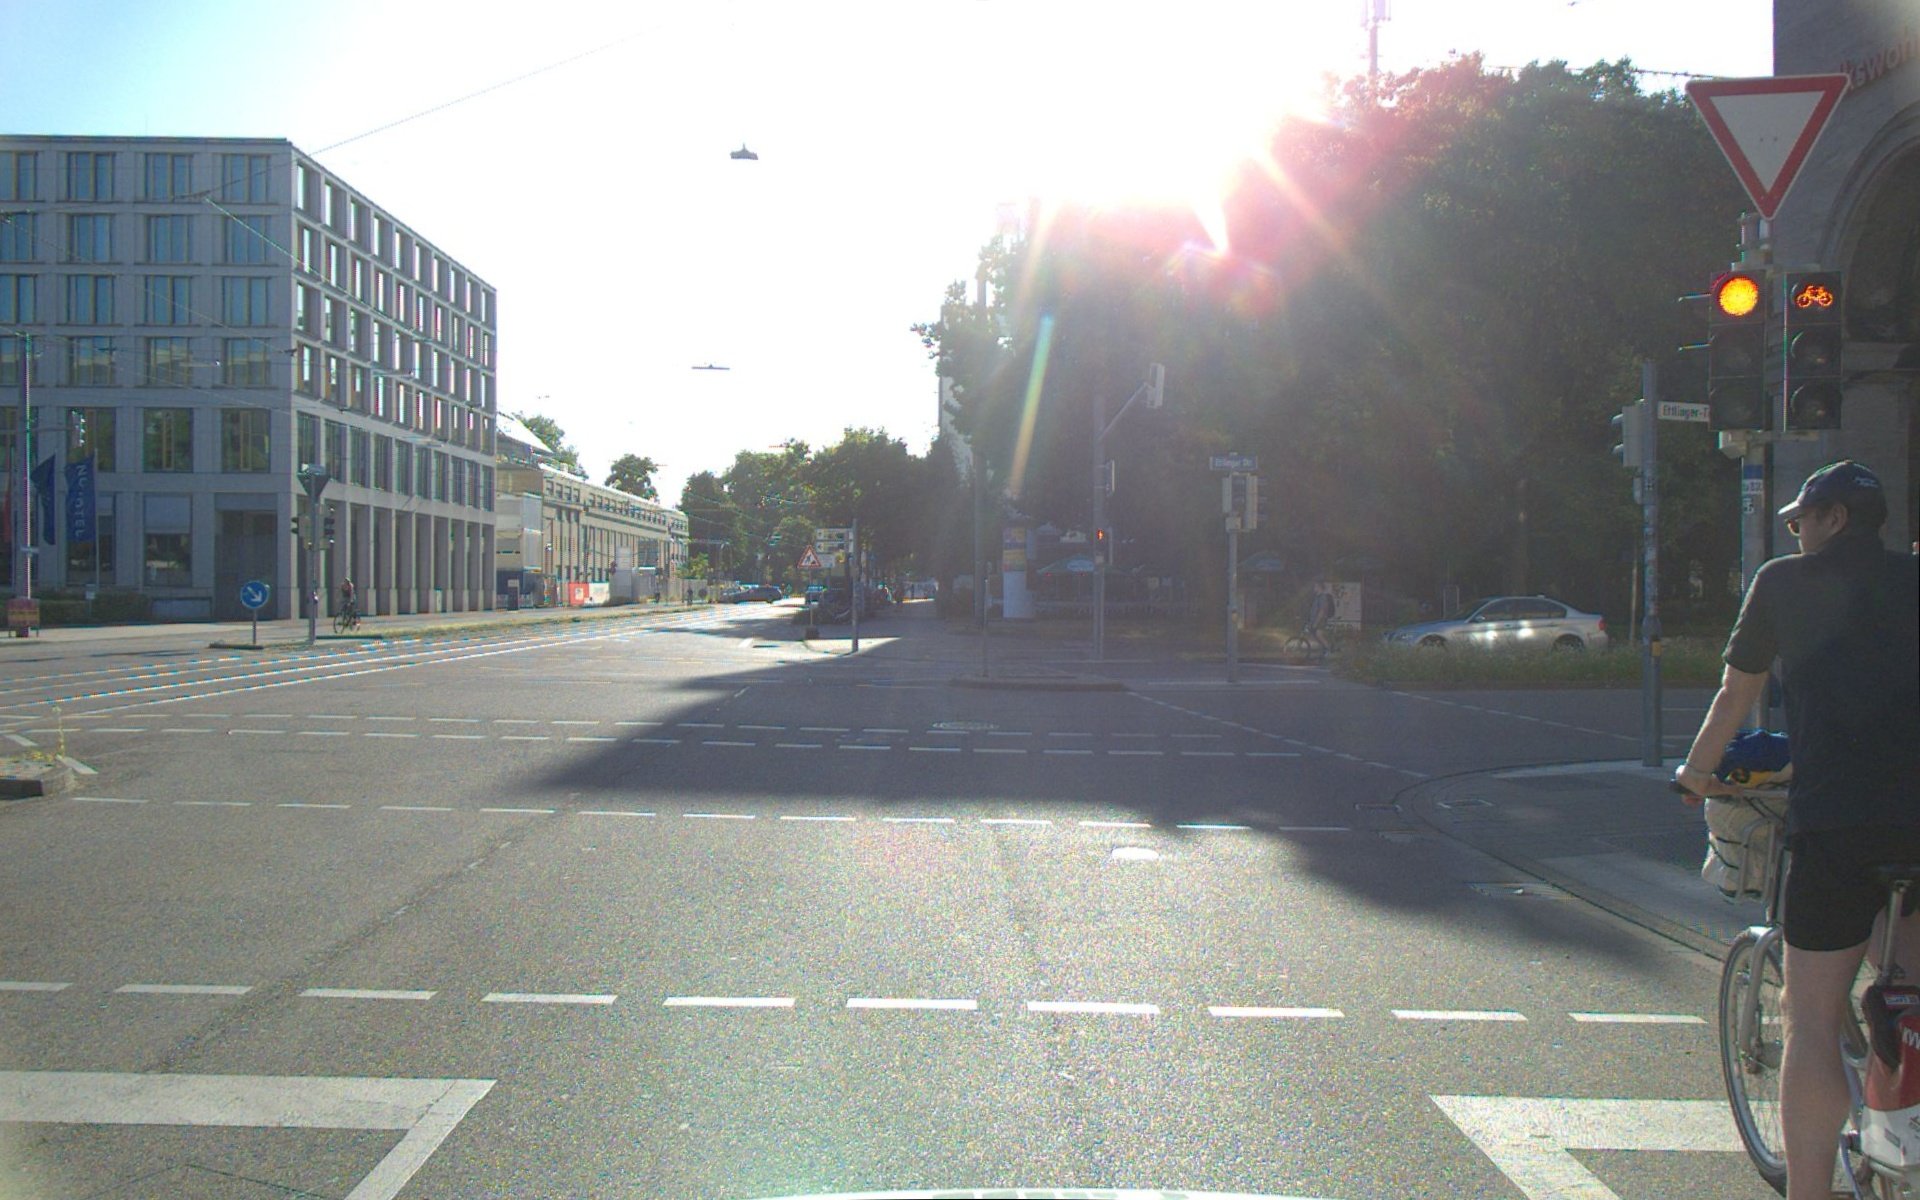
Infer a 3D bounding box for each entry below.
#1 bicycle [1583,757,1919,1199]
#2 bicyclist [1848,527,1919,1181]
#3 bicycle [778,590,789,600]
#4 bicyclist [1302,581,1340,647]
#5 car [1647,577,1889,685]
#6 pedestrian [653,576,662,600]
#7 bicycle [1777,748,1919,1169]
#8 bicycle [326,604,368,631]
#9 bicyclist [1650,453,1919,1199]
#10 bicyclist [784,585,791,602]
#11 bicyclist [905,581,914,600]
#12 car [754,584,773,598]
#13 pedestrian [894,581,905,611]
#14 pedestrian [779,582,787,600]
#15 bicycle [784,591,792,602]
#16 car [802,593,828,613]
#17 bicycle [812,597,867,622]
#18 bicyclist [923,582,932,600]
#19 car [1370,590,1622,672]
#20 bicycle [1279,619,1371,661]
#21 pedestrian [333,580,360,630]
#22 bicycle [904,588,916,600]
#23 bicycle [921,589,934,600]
[{"bbox_3d":[2.135,0.991,3.910,0.610,1.062,1.746,0,0,-2],"label":"bicycle"},{"bbox_3d":[2.881,0.687,4.350,0.572,1.769,0.950,0,0,0],"label":"bicyclist"},{"bbox_3d":[-20.738,-0.582,194.339,0.735,1.226,3.109,1,0,5],"label":"bicycle"},{"bbox_3d":[7.954,0.301,36.489,0.731,1.431,0.702,1,-1,6],"label":"bicyclist"},{"bbox_3d":[16.227,0.606,33.376,3.905,2.049,2.000,1,0,0],"label":"car"},{"bbox_3d":[-25.115,-1.004,137.324,0.575,1.922,0.478,1,-1,7],"label":"pedestrian"},{"bbox_3d":[2.881,1.008,4.386,0.570,1.062,1.747,0,0,0],"label":"bicycle"},{"bbox_3d":[-20.168,0.570,54.416,0.559,0.837,1.720,0,0,7],"label":"bicycle"},{"bbox_3d":[2.138,0.564,3.898,0.611,1.745,0.912,0,0,-3],"label":"bicyclist"},{"bbox_3d":[-20.714,-0.764,199.106,0.735,1.953,1.214,1,0,-2],"label":"bicyclist"},{"bbox_3d":[-5.546,-1.035,182.482,0.875,2.049,0.746,1,-1,-12],"label":"bicyclist"},{"bbox_3d":[-23.059,-1.025,194.353,1.954,1.673,3.997,0,0,-4],"label":"car"},{"bbox_3d":[-3.573,-0.242,97.552,0.566,1.719,0.584,0,0,-8],"label":"pedestrian"},{"bbox_3d":[-20.746,-1.054,194.236,0.735,2.099,1.050,1,-1,5],"label":"pedestrian"},{"bbox_3d":[-20.723,-0.396,199.091,0.735,1.226,3.107,1,0,-2],"label":"bicycle"},{"bbox_3d":[-12.485,0.233,142.773,1.953,1.668,3.999,1,0,-1],"label":"car"},{"bbox_3d":[-4.908,0.384,67.132,2.201,0.956,0.653,0,0,-6],"label":"bicycle"},{"bbox_3d":[-3.611,-0.998,183.202,0.875,2.049,0.746,1,-1,-12],"label":"bicyclist"},{"bbox_3d":[10.848,0.626,33.722,4.483,1.543,2.000,1,0,-1],"label":"car"},{"bbox_3d":[8.033,0.876,36.482,1.902,0.905,0.718,1,0,5],"label":"bicycle"},{"bbox_3d":[-20.175,0.173,54.404,0.559,1.623,0.745,0,0,7],"label":"pedestrian"},{"bbox_3d":[-5.537,-0.630,182.439,0.875,1.240,2.785,1,0,-12],"label":"bicycle"},{"bbox_3d":[-3.631,-0.594,183.283,0.875,1.240,2.785,1,0,-12],"label":"bicycle"}]
